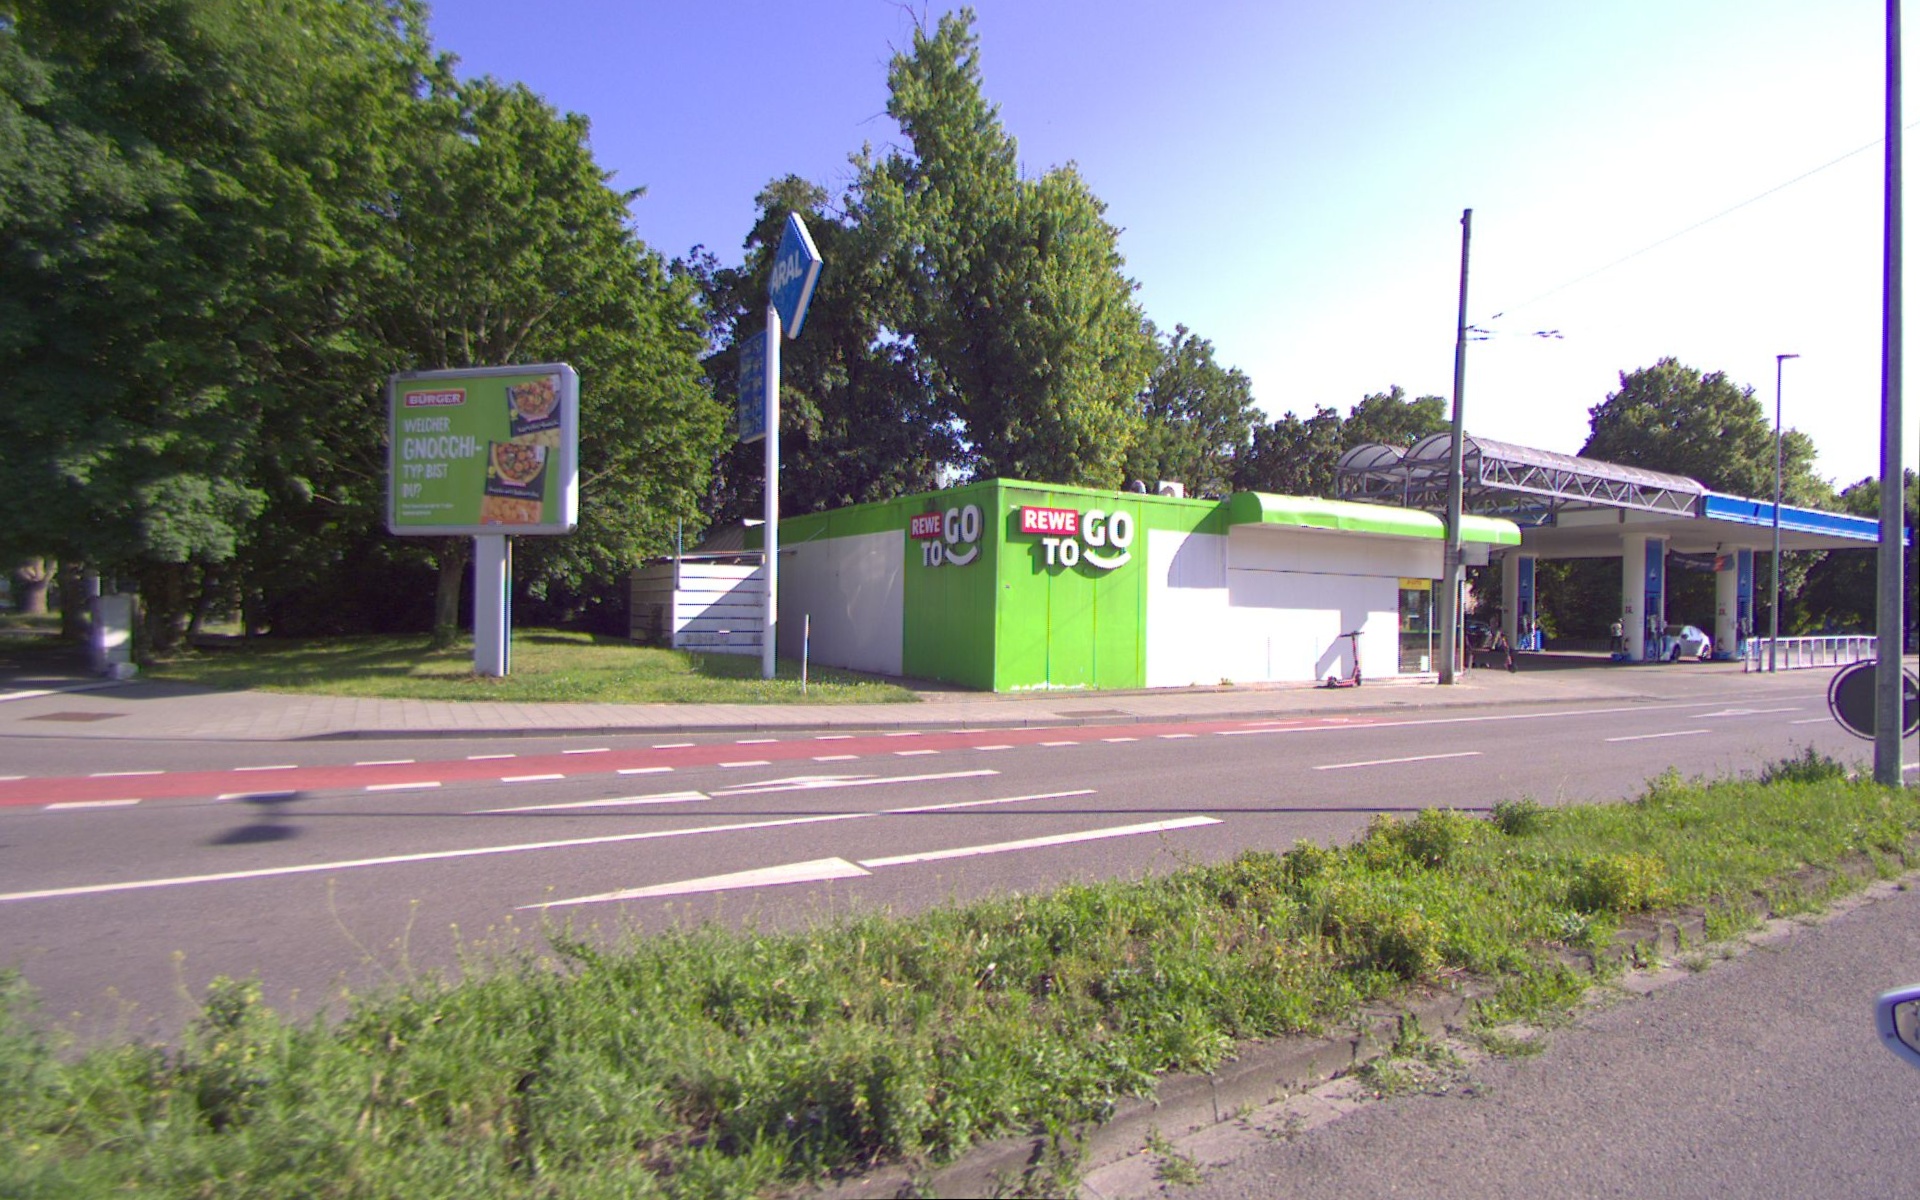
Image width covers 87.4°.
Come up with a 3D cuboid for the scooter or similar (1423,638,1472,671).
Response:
[{"bbox_3d":[15.358,1.705,31.644,0.494,0.998,1.332,1,-1,-31],"label":"scooter or similar"}]

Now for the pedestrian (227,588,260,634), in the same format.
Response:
[{"bbox_3d":[-28.284,0.435,39.659,0.864,1.793,0.684,1,0,-19],"label":"pedestrian"}]

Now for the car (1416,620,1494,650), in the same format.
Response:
[{"bbox_3d":[24.724,1.739,50.150,4.077,1.412,1.733,1,-1,-34],"label":"car"}]

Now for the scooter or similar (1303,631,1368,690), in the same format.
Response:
[{"bbox_3d":[8.113,1.298,21.704,1.294,1.190,0.530,1,4,-29],"label":"scooter or similar"}]

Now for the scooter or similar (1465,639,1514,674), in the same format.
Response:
[{"bbox_3d":[16.058,1.701,30.498,0.494,1.000,1.253,1,-1,-31],"label":"scooter or similar"}]

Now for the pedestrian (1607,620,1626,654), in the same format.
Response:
[{"bbox_3d":[33.743,1.907,51.660,0.844,1.751,0.655,1,-1,-44],"label":"pedestrian"}]

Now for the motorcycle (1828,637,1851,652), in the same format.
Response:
[{"bbox_3d":[55.229,2.796,63.073,1.652,0.913,0.667,1,-1,-32],"label":"motorcycle"}]

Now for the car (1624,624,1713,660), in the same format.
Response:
[{"bbox_3d":[29.798,1.730,42.233,4.077,1.412,1.733,1,-1,-34],"label":"car"}]
